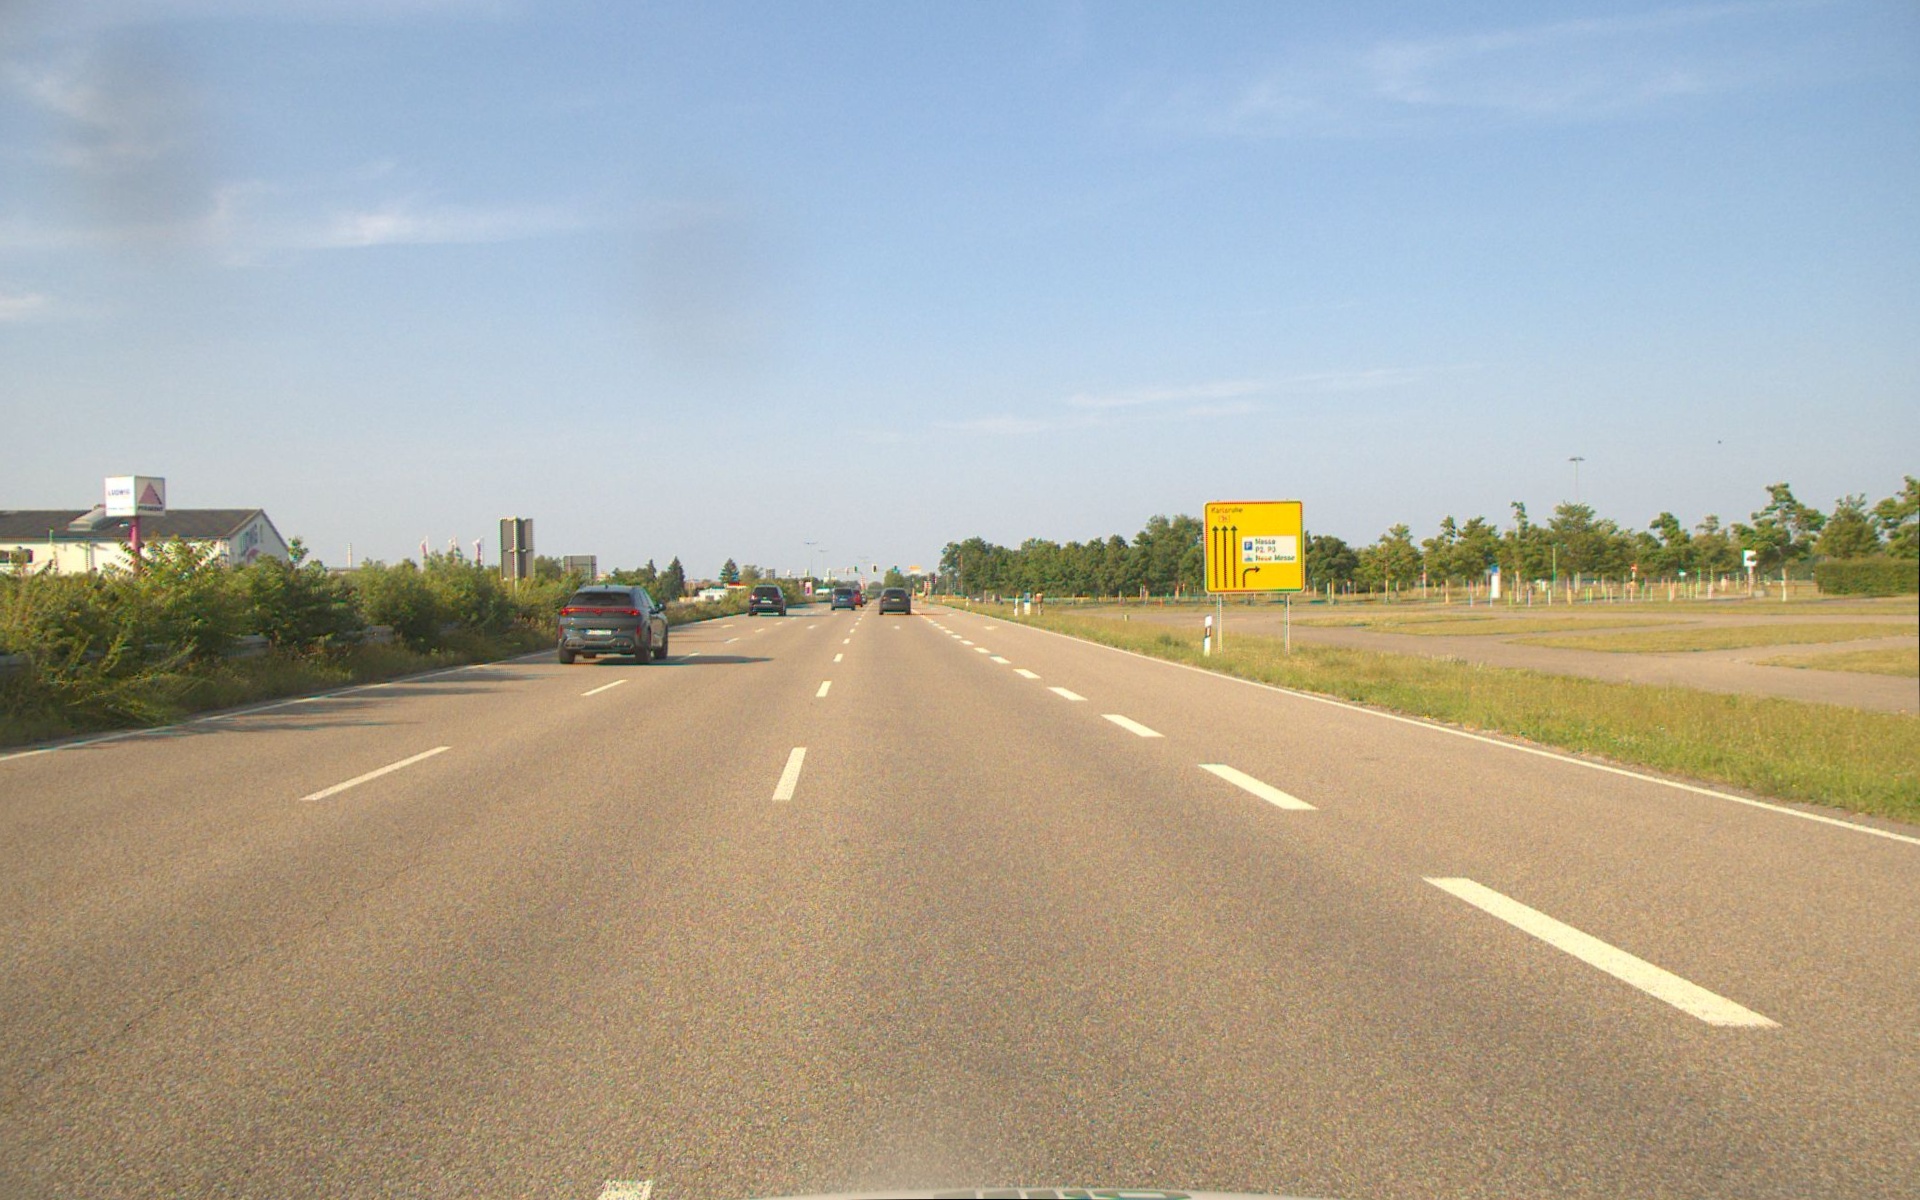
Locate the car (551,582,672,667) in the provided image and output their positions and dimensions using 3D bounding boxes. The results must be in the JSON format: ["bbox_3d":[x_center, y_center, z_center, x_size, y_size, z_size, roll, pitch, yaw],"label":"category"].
[{"bbox_3d":[-7.281,0.477,34.964,1.809,1.640,4.398,1,0,-3],"label":"car"}]

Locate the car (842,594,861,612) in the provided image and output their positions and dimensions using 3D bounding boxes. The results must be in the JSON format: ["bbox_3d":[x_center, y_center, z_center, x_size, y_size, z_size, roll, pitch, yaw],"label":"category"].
[{"bbox_3d":[-9.680,0.261,147.916,1.614,1.489,3.978,1,0,-3],"label":"car"}]

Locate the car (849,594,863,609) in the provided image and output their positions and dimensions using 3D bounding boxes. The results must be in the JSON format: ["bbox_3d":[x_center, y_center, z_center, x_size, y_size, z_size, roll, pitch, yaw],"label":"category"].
[{"bbox_3d":[-12.379,0.229,197.508,1.613,1.758,3.398,0,-1,-4],"label":"car"}]

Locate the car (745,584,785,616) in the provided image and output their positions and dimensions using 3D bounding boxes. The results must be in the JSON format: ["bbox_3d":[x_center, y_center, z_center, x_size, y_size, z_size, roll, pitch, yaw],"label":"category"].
[{"bbox_3d":[-10.928,-0.015,92.715,1.894,1.709,4.398,1,0,-3],"label":"car"}]

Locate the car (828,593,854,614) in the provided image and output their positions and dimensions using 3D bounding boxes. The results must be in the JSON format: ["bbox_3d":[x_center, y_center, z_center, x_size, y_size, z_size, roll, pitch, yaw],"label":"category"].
[{"bbox_3d":[-8.824,0.277,123.038,1.776,1.489,4.398,1,0,-3],"label":"car"}]

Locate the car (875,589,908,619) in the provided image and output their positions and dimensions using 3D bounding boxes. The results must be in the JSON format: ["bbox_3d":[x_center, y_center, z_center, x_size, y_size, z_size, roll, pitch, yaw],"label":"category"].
[{"bbox_3d":[-4.230,0.236,101.718,1.894,1.709,4.398,1,0,-3],"label":"car"}]
